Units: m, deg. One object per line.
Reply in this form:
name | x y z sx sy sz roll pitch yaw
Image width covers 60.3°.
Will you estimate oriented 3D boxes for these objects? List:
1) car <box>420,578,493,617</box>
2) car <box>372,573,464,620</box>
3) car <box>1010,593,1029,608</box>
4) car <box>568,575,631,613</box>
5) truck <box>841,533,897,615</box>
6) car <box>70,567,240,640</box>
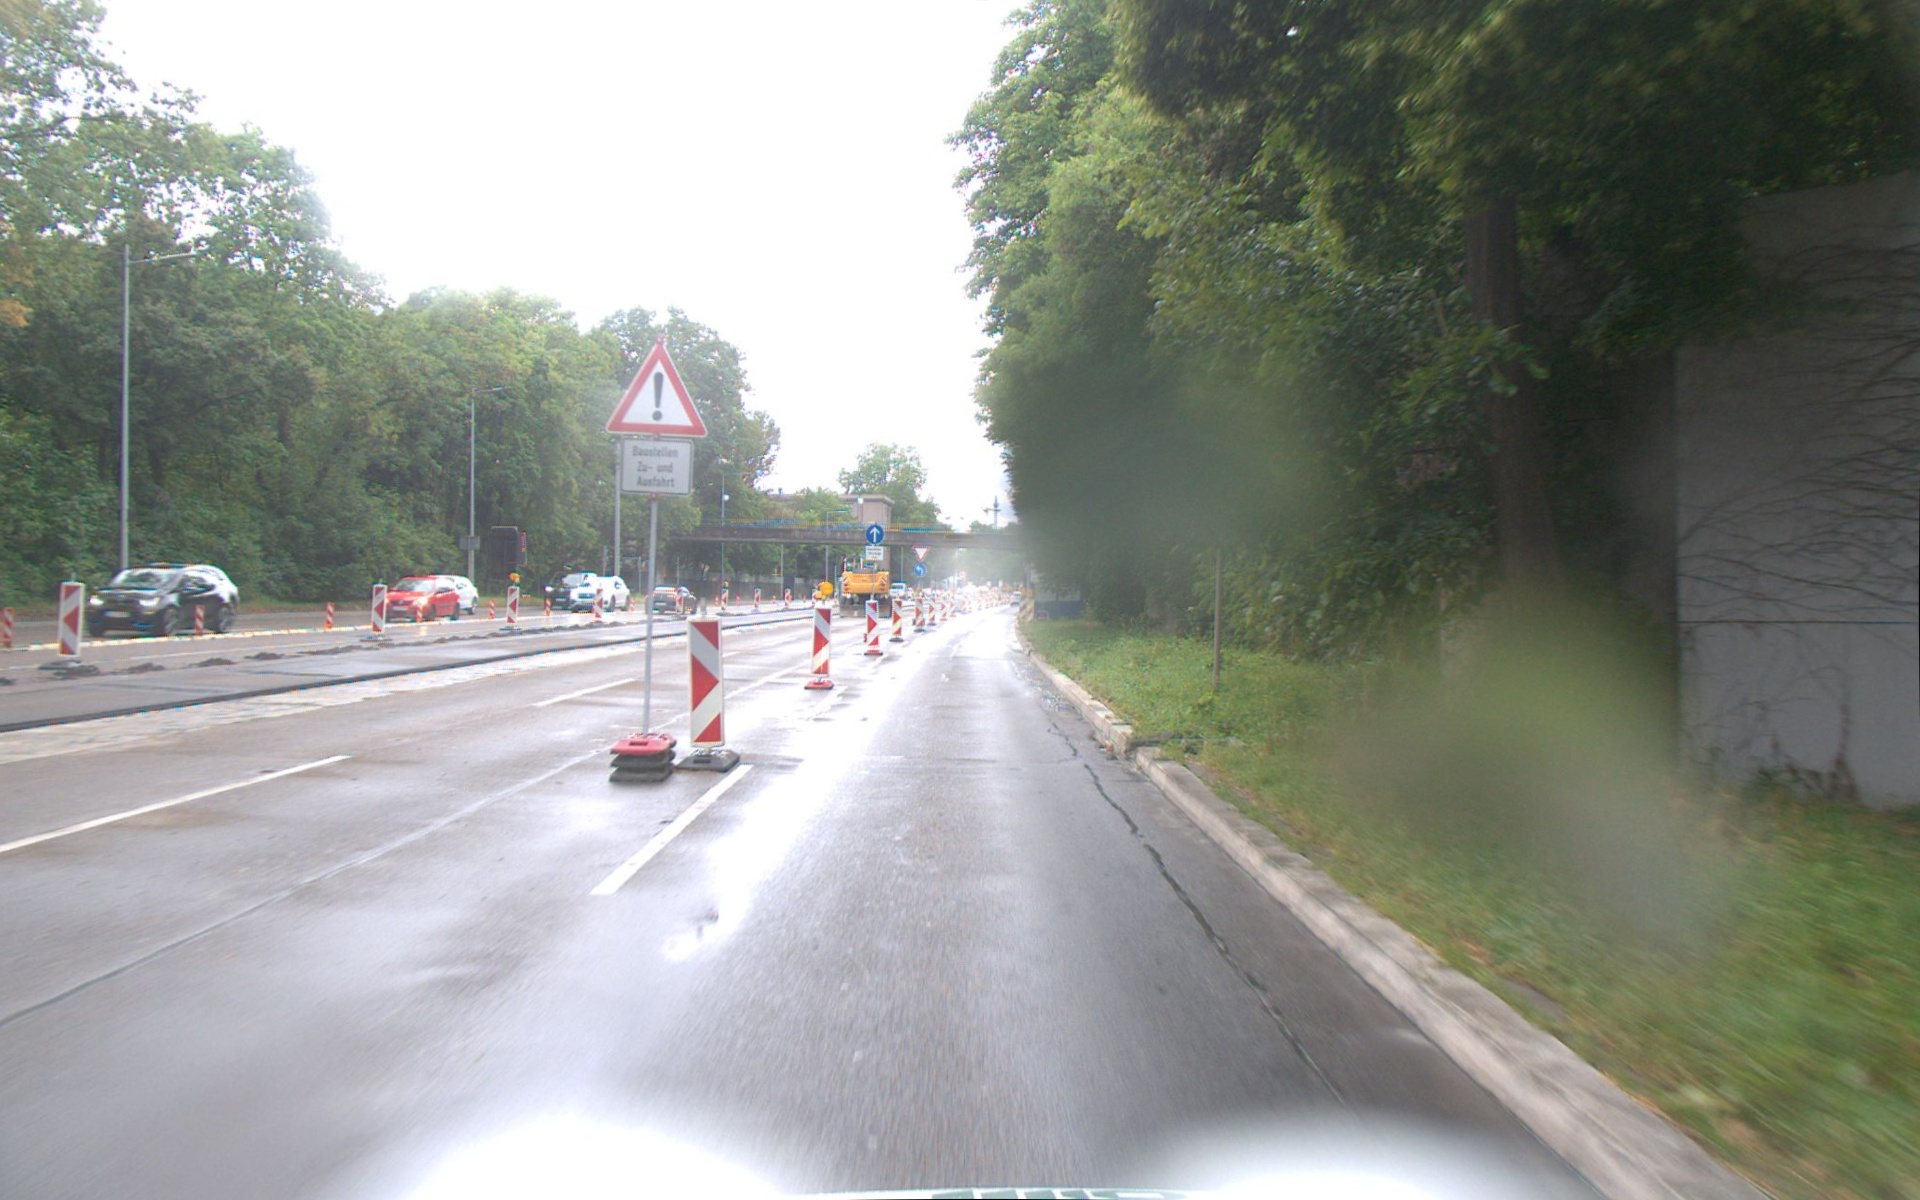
car | -20.138 -0.115 66.284 1.644 1.522 4.149 0 0 0
car | -17.681 -0.120 54.145 1.645 1.425 4.013 1 0 0
car | 6.383 0.058 176.584 1.952 1.668 4.002 0 0 3
car | -17.014 -0.301 78.208 1.851 1.690 4.893 1 0 0
truck | -5.085 -1.437 94.173 2.839 4.333 10.752 2 0 -2
car | -18.010 0.061 37.224 1.740 1.513 4.197 1 0 0
